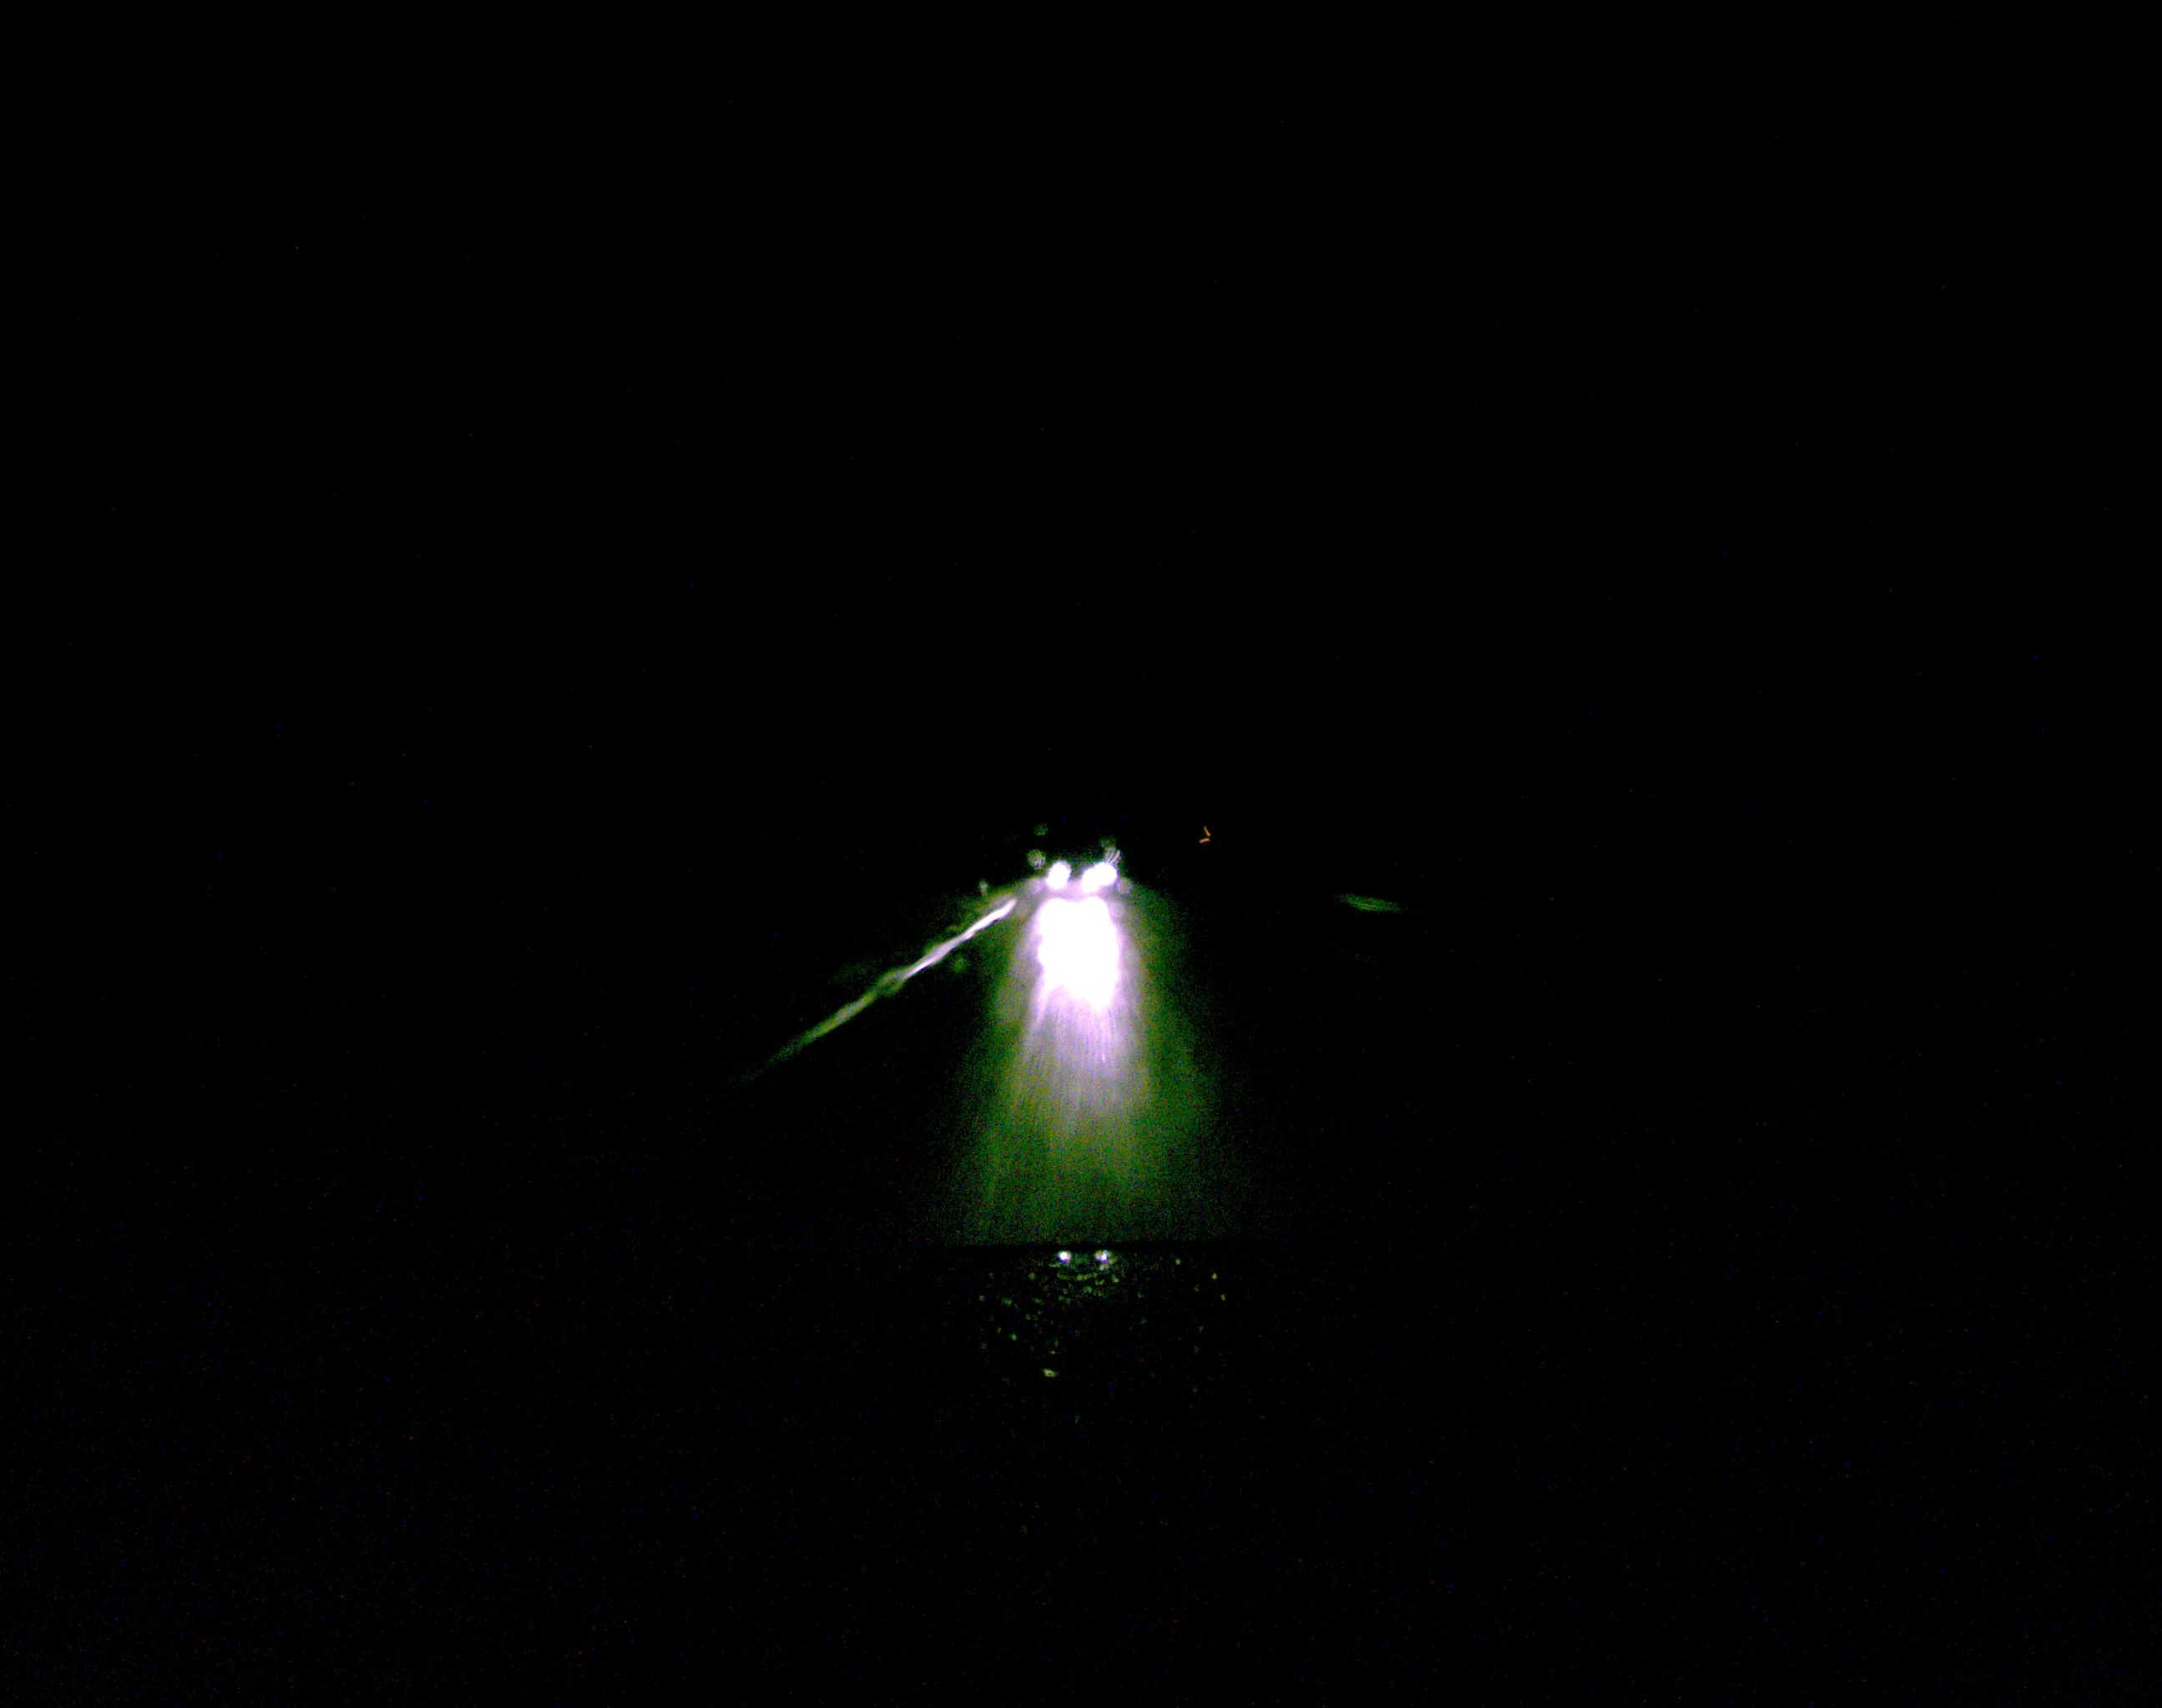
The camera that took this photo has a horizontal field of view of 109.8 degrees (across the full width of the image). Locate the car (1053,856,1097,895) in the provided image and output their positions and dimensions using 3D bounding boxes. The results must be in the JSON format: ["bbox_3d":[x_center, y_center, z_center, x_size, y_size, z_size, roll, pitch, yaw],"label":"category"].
[{"bbox_3d":[-0.293,0.901,32.807,1.793,1.593,4.000,0,-1,-2],"label":"car"}]
